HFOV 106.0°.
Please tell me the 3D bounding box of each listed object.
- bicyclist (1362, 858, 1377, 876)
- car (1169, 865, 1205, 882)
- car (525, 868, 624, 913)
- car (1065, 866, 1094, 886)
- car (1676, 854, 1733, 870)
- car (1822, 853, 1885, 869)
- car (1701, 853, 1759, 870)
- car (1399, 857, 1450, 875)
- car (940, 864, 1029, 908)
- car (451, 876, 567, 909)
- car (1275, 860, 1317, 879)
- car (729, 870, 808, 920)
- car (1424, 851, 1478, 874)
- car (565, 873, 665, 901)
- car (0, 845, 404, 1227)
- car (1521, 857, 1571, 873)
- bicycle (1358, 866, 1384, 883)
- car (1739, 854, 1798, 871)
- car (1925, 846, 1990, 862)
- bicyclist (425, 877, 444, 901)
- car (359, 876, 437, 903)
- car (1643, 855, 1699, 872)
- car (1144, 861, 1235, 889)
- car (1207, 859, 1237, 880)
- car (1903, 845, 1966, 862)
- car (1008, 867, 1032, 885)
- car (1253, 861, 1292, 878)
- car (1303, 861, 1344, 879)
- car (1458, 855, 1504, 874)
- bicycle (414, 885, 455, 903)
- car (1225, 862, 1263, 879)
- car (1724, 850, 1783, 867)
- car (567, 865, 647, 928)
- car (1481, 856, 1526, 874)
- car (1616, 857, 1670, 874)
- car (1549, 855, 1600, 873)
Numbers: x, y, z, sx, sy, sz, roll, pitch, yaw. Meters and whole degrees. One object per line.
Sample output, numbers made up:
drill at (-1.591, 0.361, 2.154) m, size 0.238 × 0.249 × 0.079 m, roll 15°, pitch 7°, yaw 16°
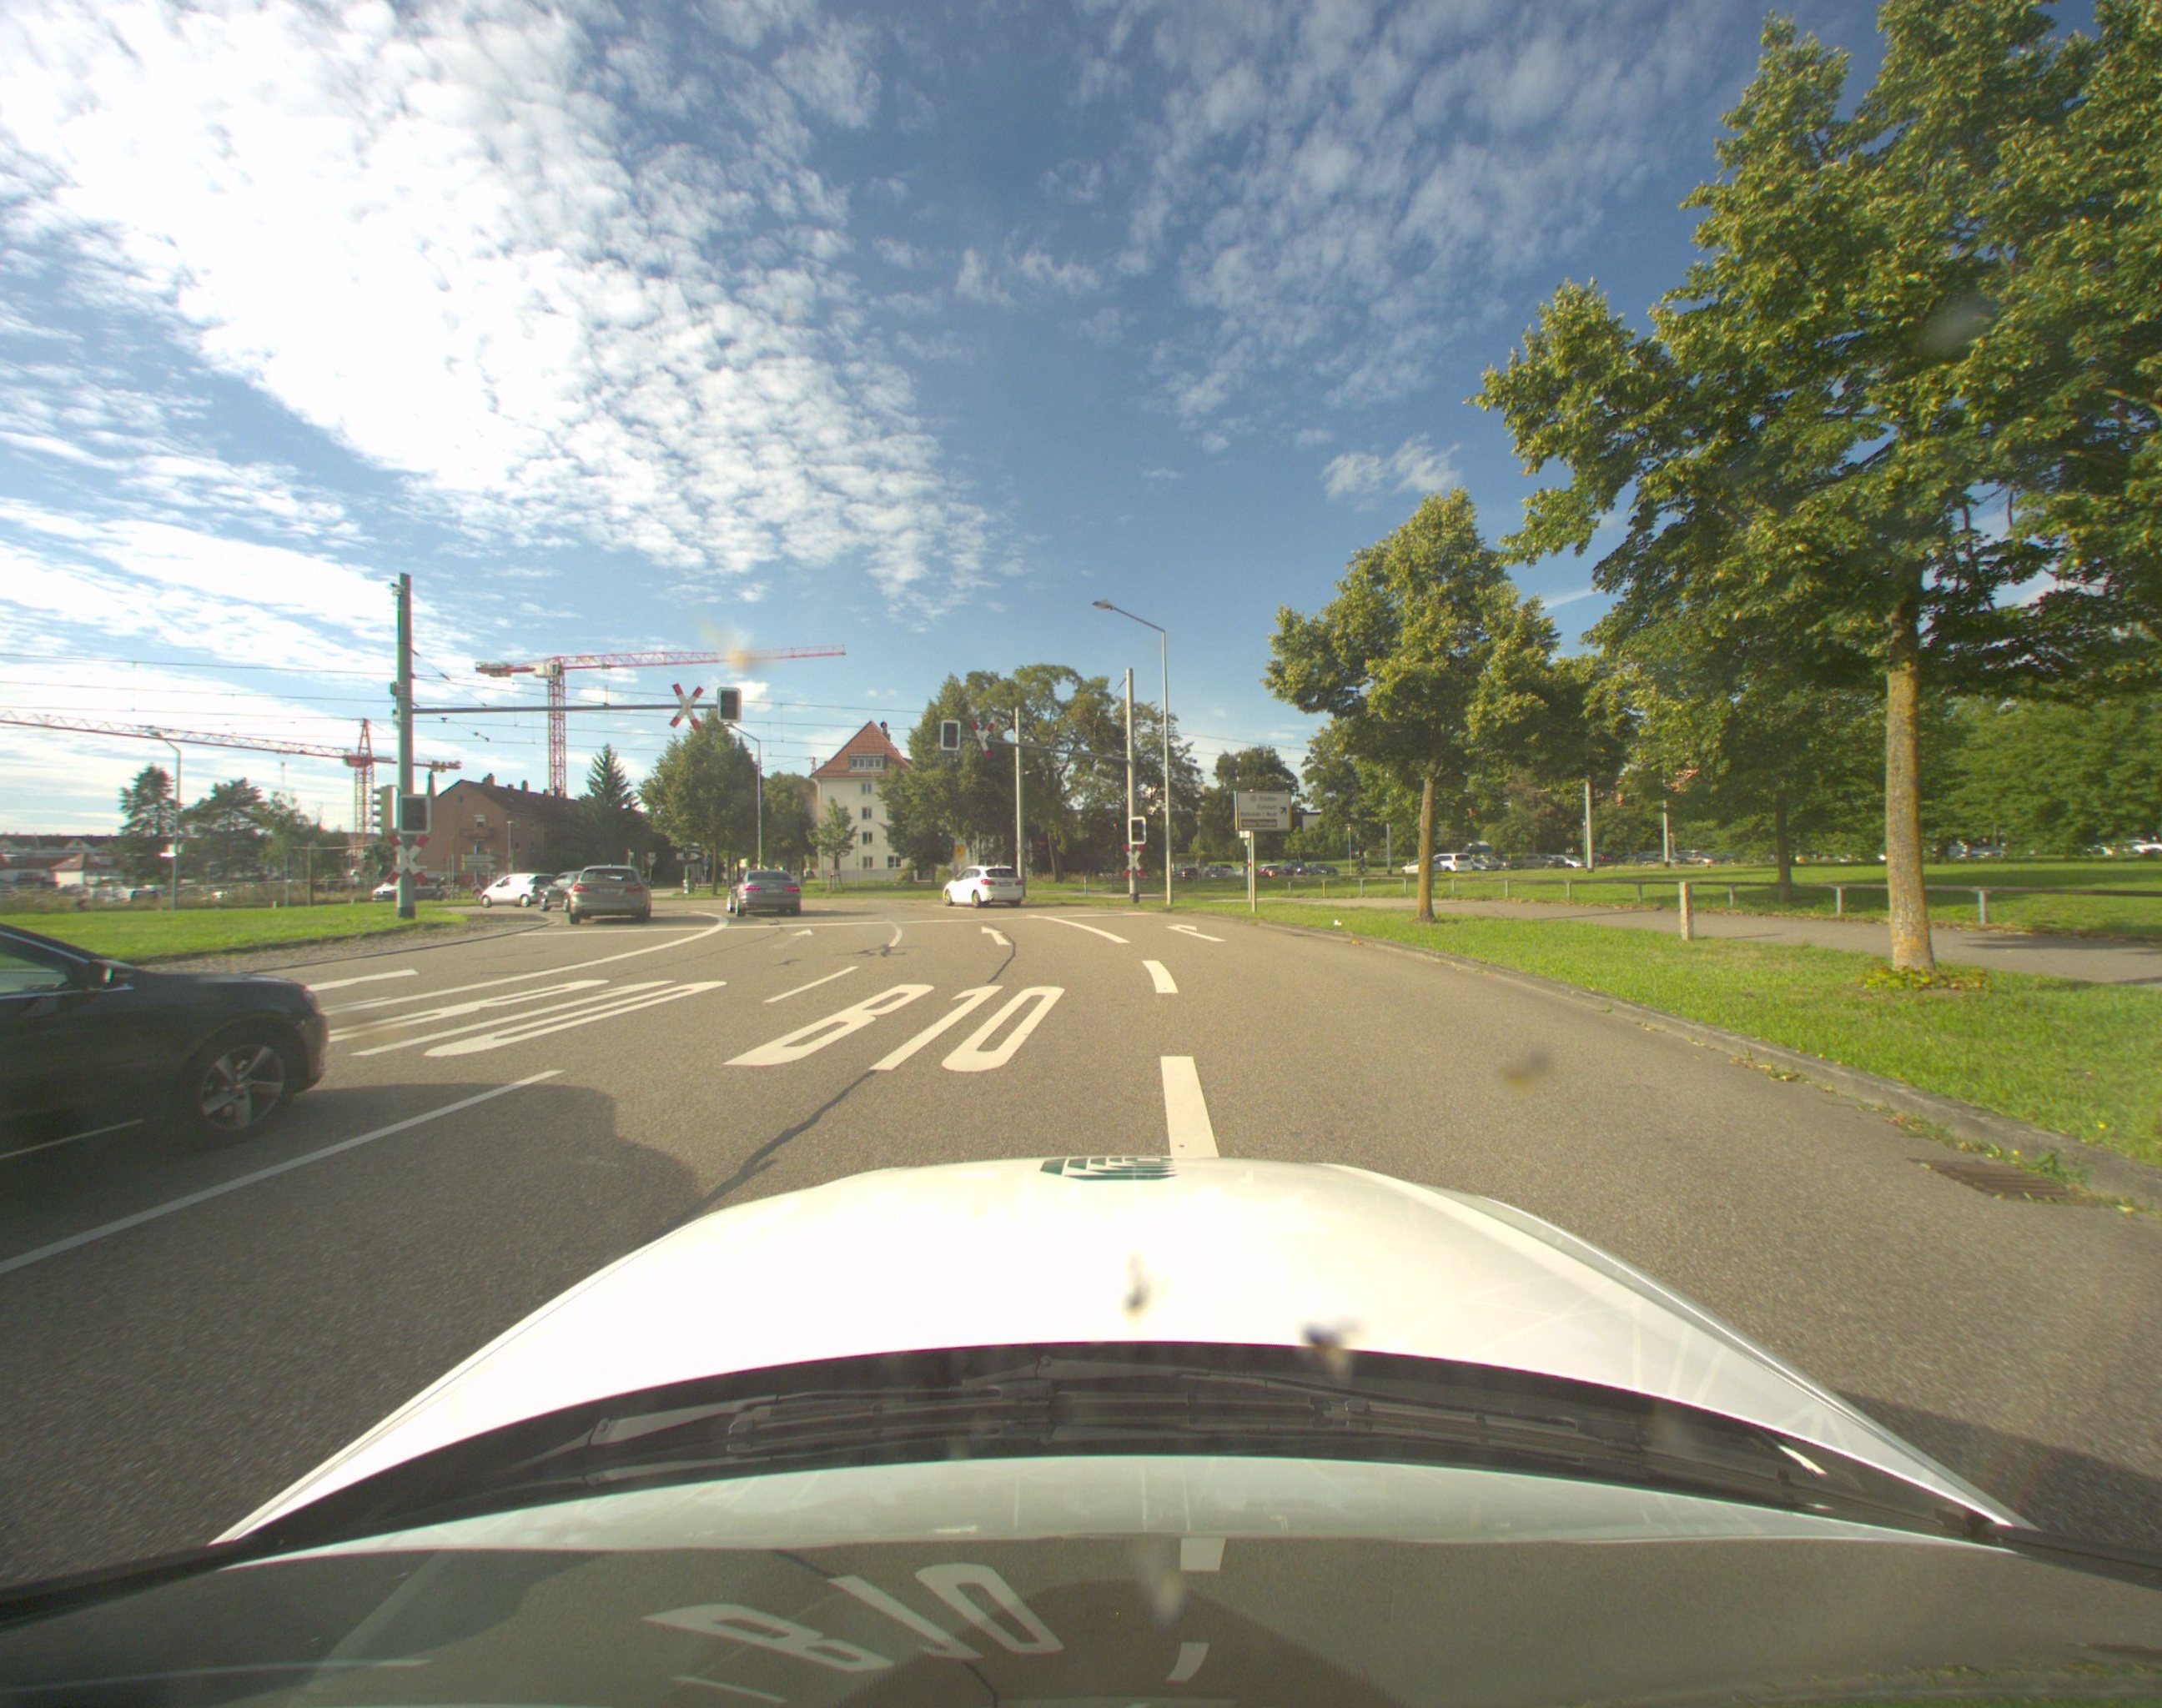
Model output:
bicyclist at (23.003, 1.025, 64.938) m, size 1.010 × 1.355 × 0.706 m, roll -1°, pitch -1°, yaw -39°
car at (9.054, 1.659, 69.931) m, size 1.853 × 1.359 × 4.721 m, roll -1°, pitch -1°, yaw -7°
car at (-18.662, 1.322, 29.974) m, size 3.949 × 1.541 × 2.012 m, roll -2°, pitch -3°, yaw 42°
car at (-0.161, 1.848, 68.335) m, size 1.853 × 1.515 × 4.721 m, roll -1°, pitch -1°, yaw -7°
car at (59.895, 0.771, 78.306) m, size 1.850 × 1.454 × 4.463 m, roll -2°, pitch -1°, yaw -4°
car at (77.235, 0.690, 81.538) m, size 1.792 × 1.475 × 4.458 m, roll -1°, pitch -1°, yaw -7°
car at (62.521, 0.751, 78.530) m, size 1.850 × 1.541 × 4.463 m, roll -2°, pitch -1°, yaw -4°
car at (30.844, 1.090, 73.284) m, size 1.858 × 1.515 × 4.446 m, roll -1°, pitch -1°, yaw -15°
car at (-3.831, 1.206, 31.559) m, size 1.862 × 1.572 × 4.411 m, roll 1°, pitch -2°, yaw -30°
car at (-26.461, 1.776, 37.707) m, size 4.410 × 1.478 × 1.862 m, roll -1°, pitch -2°, yaw 12°
car at (18.877, 1.359, 71.580) m, size 1.853 × 1.515 × 4.932 m, roll -1°, pitch -1°, yaw -7°
car at (-10.133, 1.274, 26.233) m, size 1.861 × 1.445 × 4.672 m, roll 0°, pitch -2°, yaw -28°
car at (33.549, 0.804, 73.983) m, size 2.305 × 2.007 × 5.105 m, roll -2°, pitch -1°, yaw -4°
car at (-24.558, 1.721, 42.984) m, size 4.411 × 1.426 × 1.862 m, roll -1°, pitch -2°, yaw 11°
car at (-5.404, 0.736, 2.939) m, size 1.989 × 1.566 × 4.840 m, roll 1°, pitch 0°, yaw -3°
car at (43.118, 1.058, 75.564) m, size 1.851 × 1.399 × 4.463 m, roll -2°, pitch -1°, yaw -4°
bicycle at (23.127, 1.616, 64.968) m, size 2.541 × 1.222 × 0.706 m, roll -1°, pitch -1°, yaw -39°
car at (67.463, 0.839, 79.991) m, size 1.850 × 1.541 × 4.463 m, roll -2°, pitch -1°, yaw -4°
car at (89.071, -0.003, 82.848) m, size 1.845 × 1.541 × 4.473 m, roll -2°, pitch -1°, yaw 3°
bicyclist at (-44.890, 2.439, 56.543) m, size 0.964 × 1.575 × 0.764 m, roll -2°, pitch -1°, yaw -37°
car at (-49.513, 2.545, 59.195) m, size 1.892 × 1.903 × 4.654 m, roll 0°, pitch -2°, yaw -3°
car at (56.067, 0.942, 77.456) m, size 1.850 × 1.541 × 4.463 m, roll -2°, pitch -1°, yaw -4°
car at (5.858, 1.158, 44.330) m, size 4.634 × 1.431 × 1.900 m, roll 0°, pitch -2°, yaw -2°
car at (14.360, 1.582, 83.011) m, size 1.868 × 2.014 × 4.801 m, roll 1°, pitch -2°, yaw -5°
car at (85.883, -0.013, 82.041) m, size 1.845 × 1.541 × 4.473 m, roll -2°, pitch -1°, yaw 3°
car at (-5.165, 1.818, 68.472) m, size 1.853 × 1.440 × 4.721 m, roll -1°, pitch -1°, yaw -7°
car at (16.744, 1.392, 71.448) m, size 1.853 × 1.363 × 4.458 m, roll -1°, pitch -1°, yaw -7°
car at (21.417, 1.421, 72.195) m, size 1.853 × 1.515 × 4.458 m, roll -1°, pitch -1°, yaw -7°
car at (36.573, 0.977, 74.609) m, size 2.089 × 1.674 × 4.469 m, roll -2°, pitch -1°, yaw 1°
bicycle at (-44.871, 2.784, 56.542) m, size 2.160 × 1.137 × 0.764 m, roll -2°, pitch -1°, yaw -37°
car at (14.204, 1.450, 71.201) m, size 1.853 × 1.358 × 4.821 m, roll -1°, pitch -1°, yaw -7°
car at (65.250, 0.484, 79.079) m, size 1.850 × 1.541 × 4.463 m, roll -2°, pitch -1°, yaw -4°
car at (-13.230, 1.140, 22.805) m, size 1.779 × 1.572 × 4.028 m, roll 1°, pitch -2°, yaw -30°
car at (38.776, 1.008, 74.775) m, size 2.023 × 1.515 × 4.112 m, roll -2°, pitch -1°, yaw 1°
car at (53.446, 1.132, 77.522) m, size 1.794 × 1.515 × 4.463 m, roll -2°, pitch -1°, yaw -4°
car at (45.844, 0.956, 75.735) m, size 1.851 × 1.504 × 4.463 m, roll -2°, pitch -1°, yaw -4°
